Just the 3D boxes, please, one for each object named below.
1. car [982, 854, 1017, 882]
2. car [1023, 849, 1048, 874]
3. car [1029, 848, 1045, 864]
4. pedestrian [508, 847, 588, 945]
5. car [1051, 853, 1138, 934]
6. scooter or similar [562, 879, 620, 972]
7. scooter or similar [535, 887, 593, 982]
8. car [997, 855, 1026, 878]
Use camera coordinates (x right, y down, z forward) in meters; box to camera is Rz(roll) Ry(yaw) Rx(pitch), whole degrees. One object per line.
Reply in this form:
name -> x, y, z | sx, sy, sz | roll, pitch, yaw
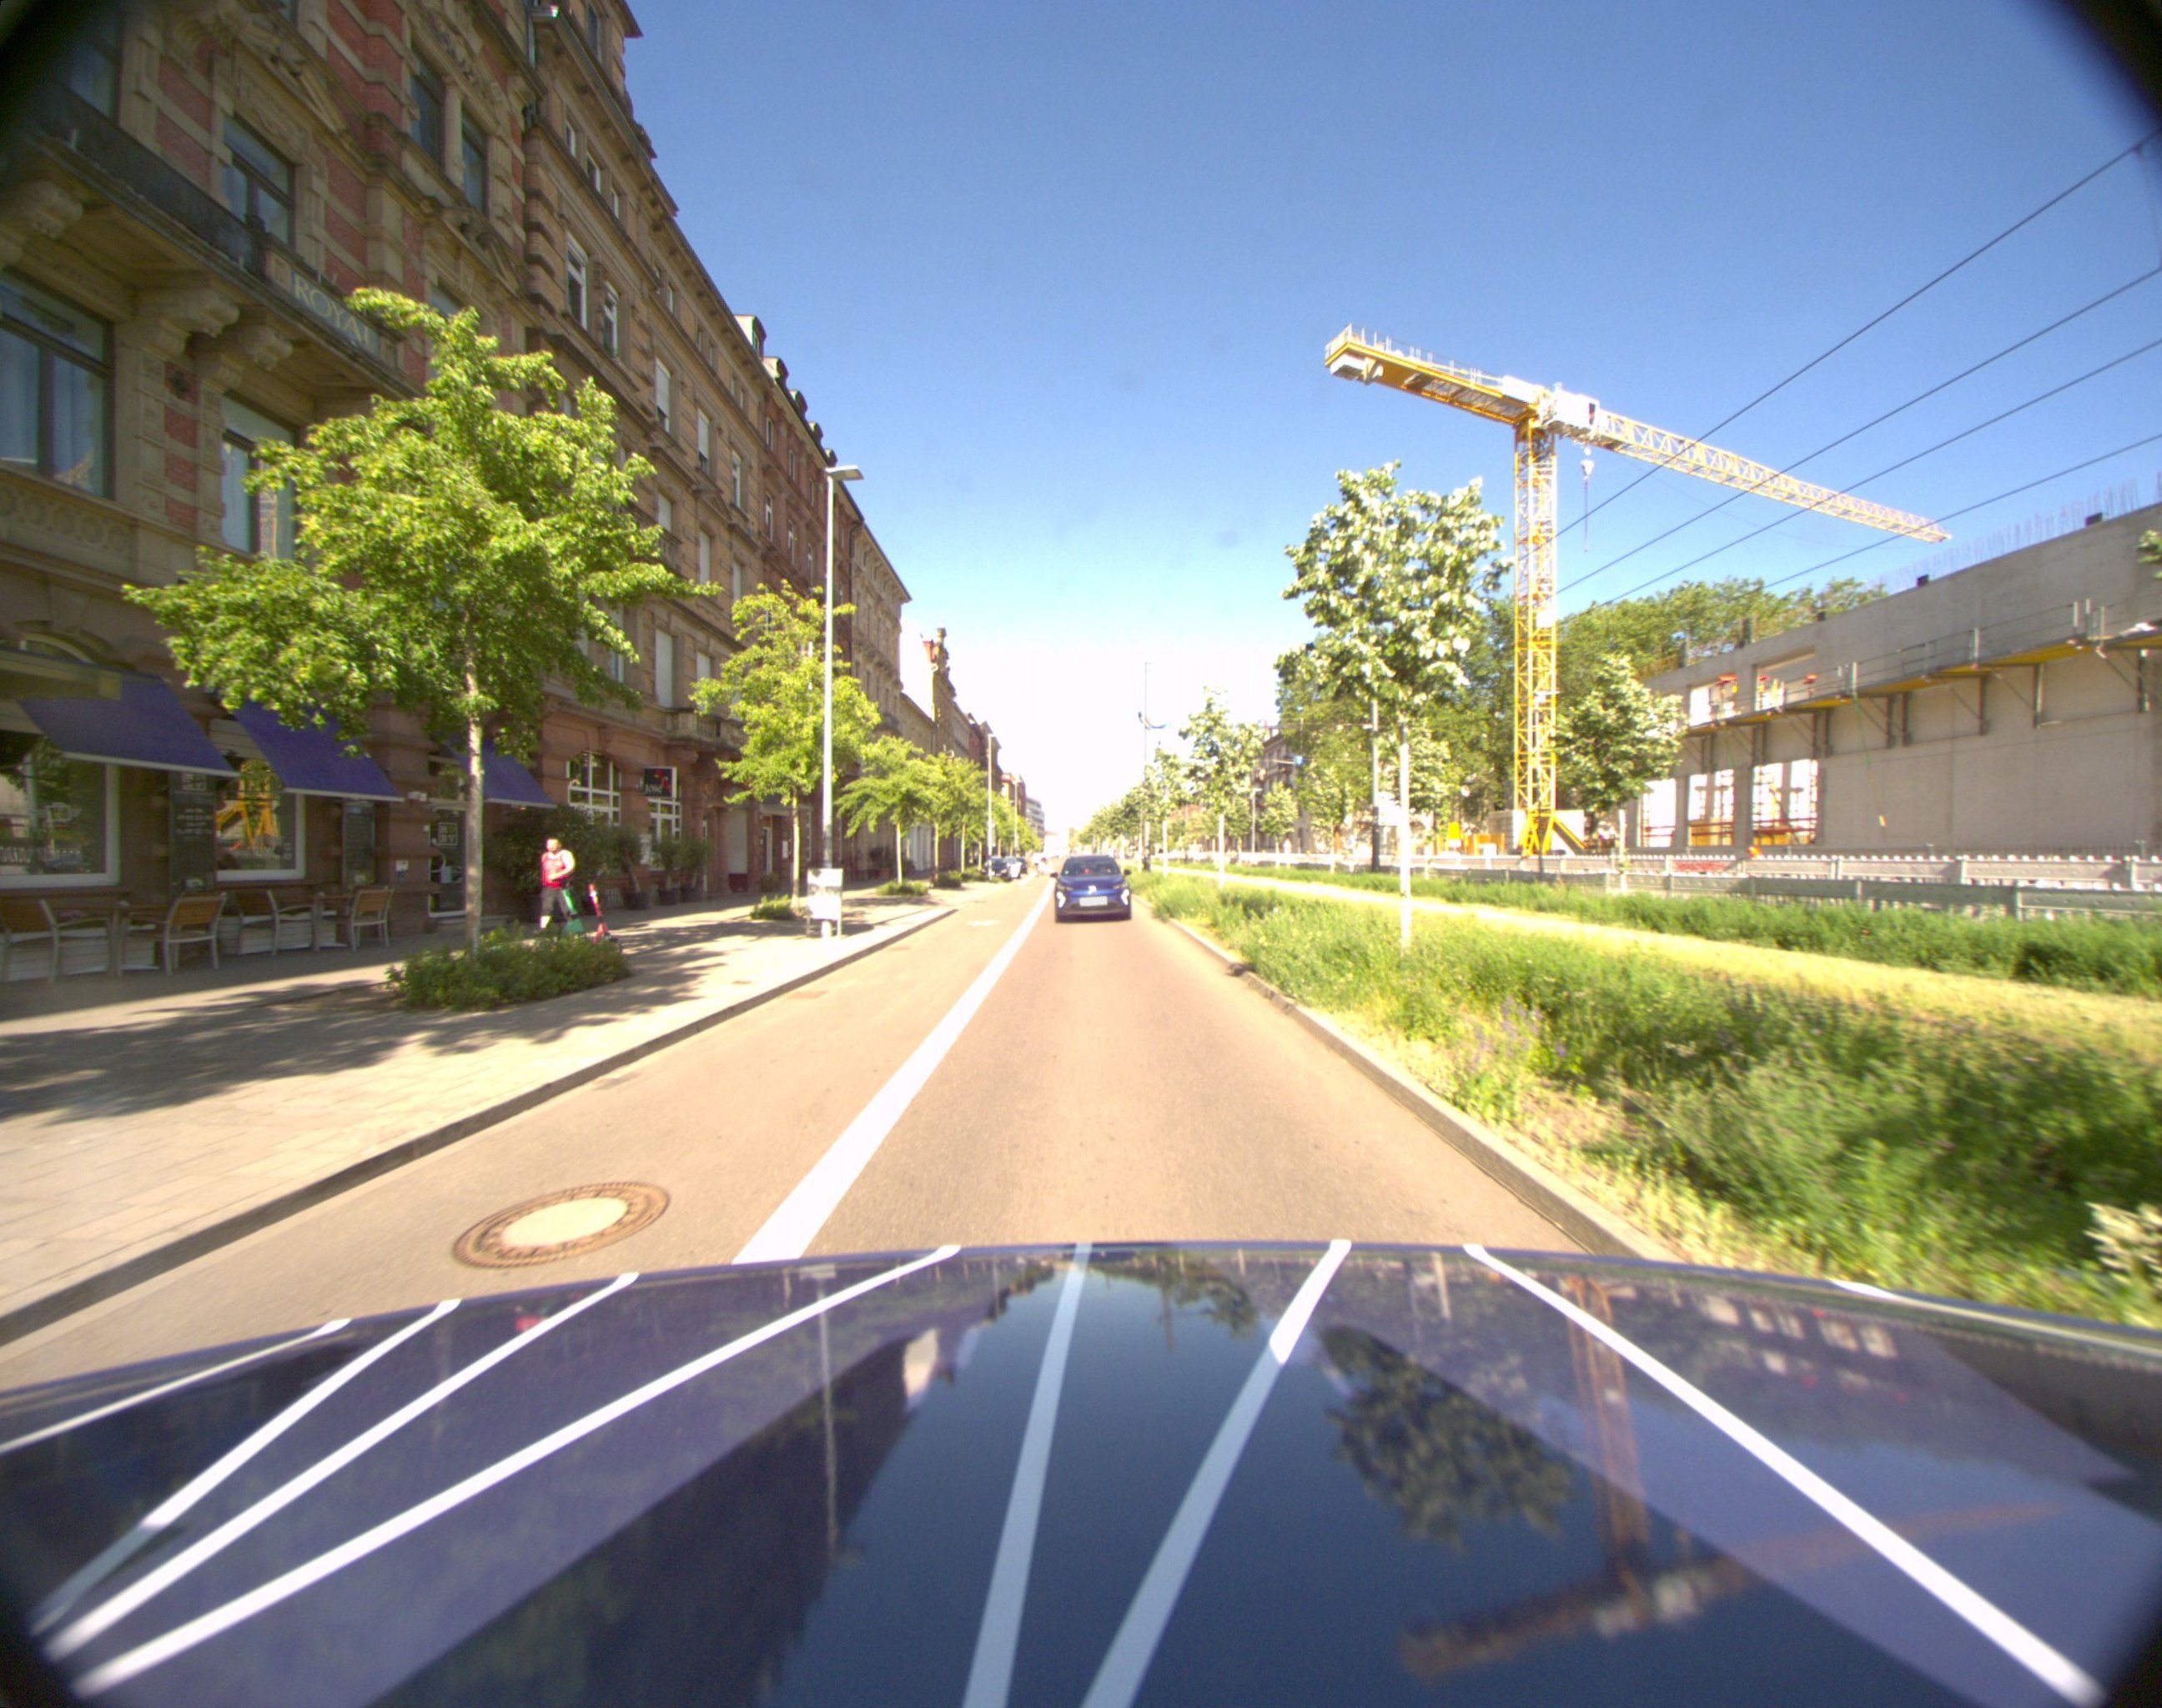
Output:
car -> -5.000, 0.820, 47.204 | 1.669, 1.574, 3.748 | -2, 1, 0
car -> -3.585, 0.584, 60.209 | 1.669, 1.787, 3.748 | -2, 1, 0
car -> -5.278, 0.211, 91.342 | 1.669, 1.787, 3.748 | -2, 1, 0
pedestrian -> -8.933, 0.683, 12.764 | 0.753, 1.575, 0.808 | 2, 1, 0
car -> 0.287, 0.835, 18.015 | 1.749, 1.613, 4.152 | -3, 0, 0
scooter or similar -> -6.695, 0.960, 10.384 | 0.672, 1.213, 0.328 | 0, 1, 22
scooter or similar -> -6.577, 1.008, 9.666 | 0.636, 1.166, 0.290 | 0, 1, 22
car -> -4.865, 0.841, 53.629 | 1.669, 1.453, 3.748 | -2, 1, 0
